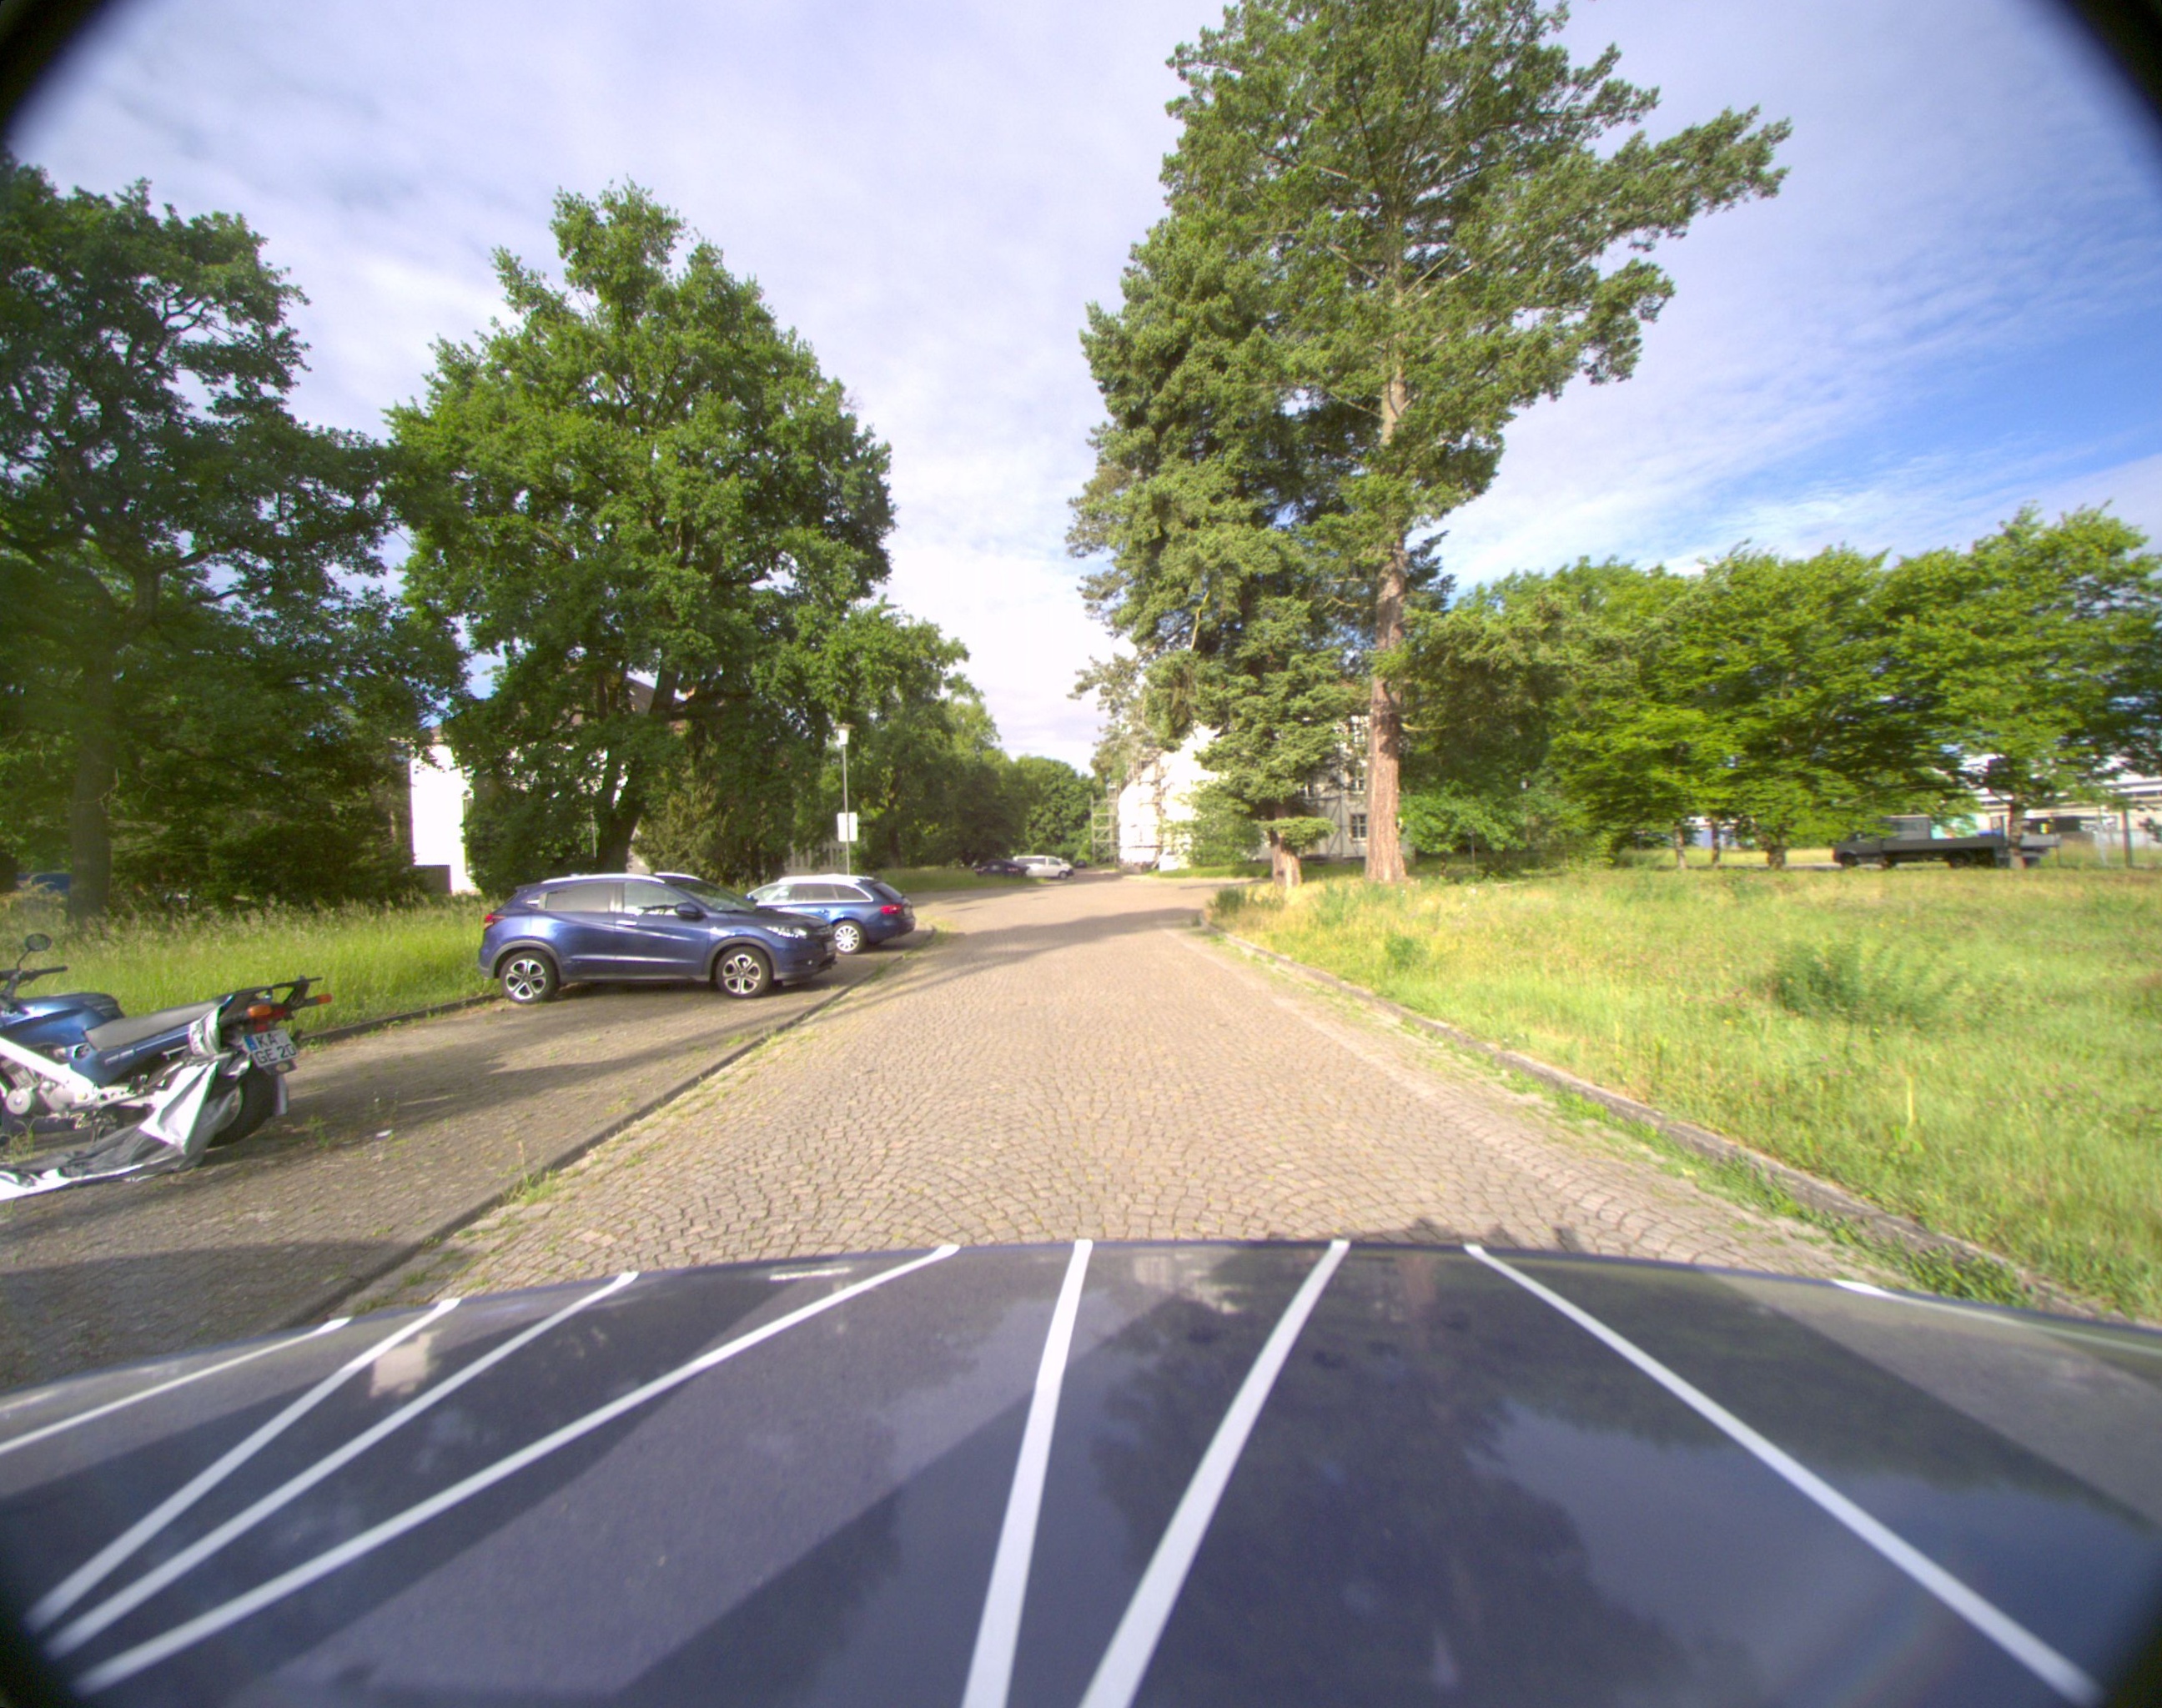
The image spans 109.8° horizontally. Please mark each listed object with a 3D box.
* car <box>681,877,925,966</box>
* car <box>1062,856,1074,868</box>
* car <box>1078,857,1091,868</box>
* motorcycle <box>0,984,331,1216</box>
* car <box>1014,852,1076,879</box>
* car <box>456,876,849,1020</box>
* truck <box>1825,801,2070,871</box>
[{"bbox_3d":[-5.263,1.262,14.766,4.036,1.442,1.783,-1,1,0],"label":"car"},{"bbox_3d":[-2.208,1.427,129.951,1.875,1.888,3.999,-2,1,-2],"label":"car"},{"bbox_3d":[0.516,1.446,130.259,1.999,1.762,4.108,-2,1,-2],"label":"car"},{"bbox_3d":[-5.741,1.363,4.317,2.307,1.107,0.607,-1,1,0],"label":"motorcycle"},{"bbox_3d":[-3.003,0.934,63.806,5.079,2.029,2.000,-2,0,-2],"label":"car"},{"bbox_3d":[-5.421,1.155,10.061,4.136,1.560,1.746,-1,1,-2],"label":"car"},{"bbox_3d":[36.114,-0.666,32.160,2.417,2.571,6.958,-2,0,1],"label":"truck"}]
